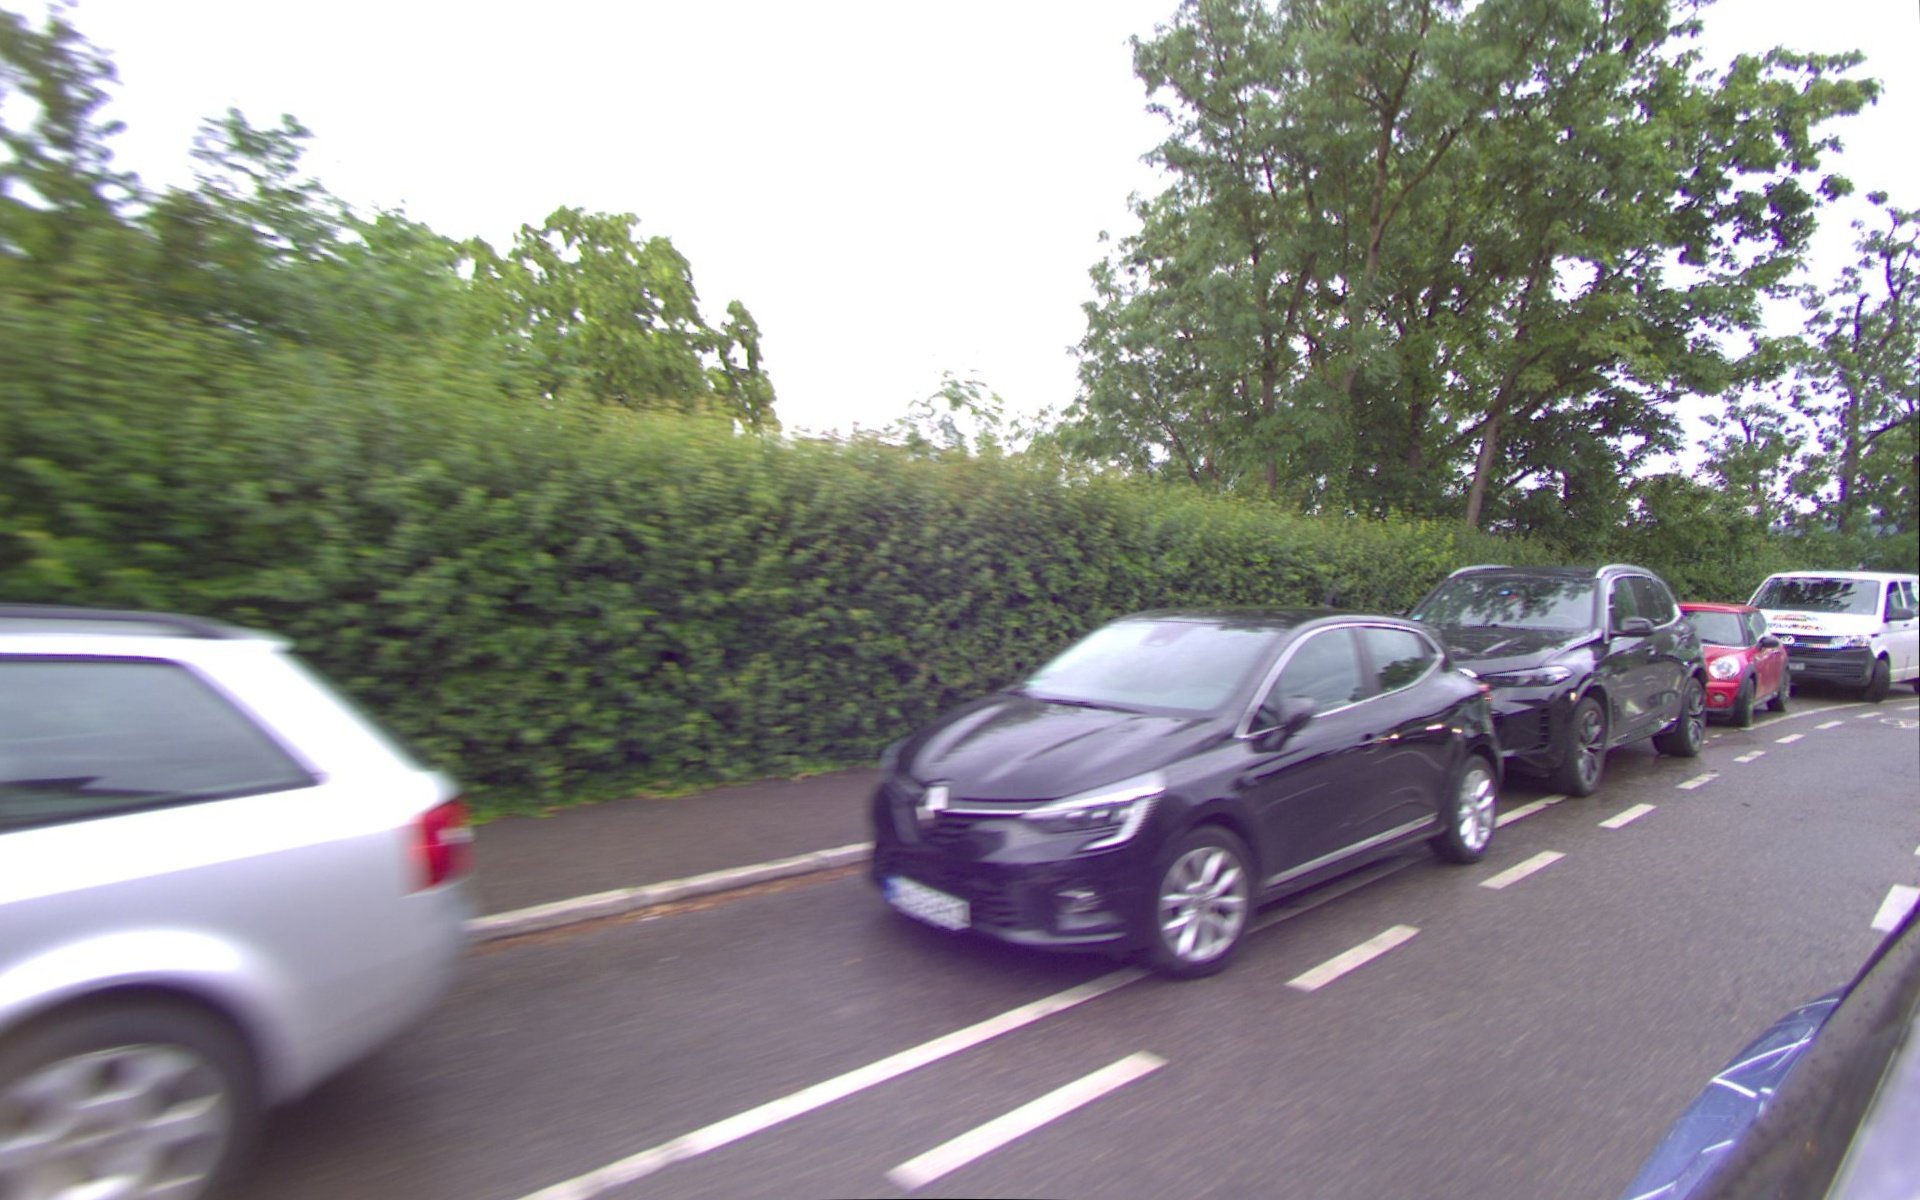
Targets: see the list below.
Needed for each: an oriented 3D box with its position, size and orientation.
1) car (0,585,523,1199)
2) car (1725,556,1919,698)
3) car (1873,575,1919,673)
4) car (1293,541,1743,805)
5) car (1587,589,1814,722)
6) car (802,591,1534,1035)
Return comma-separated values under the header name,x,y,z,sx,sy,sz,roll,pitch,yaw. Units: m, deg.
name,x,y,z,sx,sy,sz,roll,pitch,yaw
car,-3.266,0.698,1.479,1.793,1.458,4.583,1,1,35
car,14.575,0.382,16.469,4.714,1.972,1.867,1,3,-34
car,19.596,0.502,19.171,4.288,1.792,1.869,2,1,-25
car,5.286,0.493,9.270,4.812,1.805,2.031,1,1,-41
car,9.684,0.627,13.135,3.678,1.431,1.673,1,2,-43
car,1.305,0.696,5.303,3.913,1.439,1.692,-1,2,-40
